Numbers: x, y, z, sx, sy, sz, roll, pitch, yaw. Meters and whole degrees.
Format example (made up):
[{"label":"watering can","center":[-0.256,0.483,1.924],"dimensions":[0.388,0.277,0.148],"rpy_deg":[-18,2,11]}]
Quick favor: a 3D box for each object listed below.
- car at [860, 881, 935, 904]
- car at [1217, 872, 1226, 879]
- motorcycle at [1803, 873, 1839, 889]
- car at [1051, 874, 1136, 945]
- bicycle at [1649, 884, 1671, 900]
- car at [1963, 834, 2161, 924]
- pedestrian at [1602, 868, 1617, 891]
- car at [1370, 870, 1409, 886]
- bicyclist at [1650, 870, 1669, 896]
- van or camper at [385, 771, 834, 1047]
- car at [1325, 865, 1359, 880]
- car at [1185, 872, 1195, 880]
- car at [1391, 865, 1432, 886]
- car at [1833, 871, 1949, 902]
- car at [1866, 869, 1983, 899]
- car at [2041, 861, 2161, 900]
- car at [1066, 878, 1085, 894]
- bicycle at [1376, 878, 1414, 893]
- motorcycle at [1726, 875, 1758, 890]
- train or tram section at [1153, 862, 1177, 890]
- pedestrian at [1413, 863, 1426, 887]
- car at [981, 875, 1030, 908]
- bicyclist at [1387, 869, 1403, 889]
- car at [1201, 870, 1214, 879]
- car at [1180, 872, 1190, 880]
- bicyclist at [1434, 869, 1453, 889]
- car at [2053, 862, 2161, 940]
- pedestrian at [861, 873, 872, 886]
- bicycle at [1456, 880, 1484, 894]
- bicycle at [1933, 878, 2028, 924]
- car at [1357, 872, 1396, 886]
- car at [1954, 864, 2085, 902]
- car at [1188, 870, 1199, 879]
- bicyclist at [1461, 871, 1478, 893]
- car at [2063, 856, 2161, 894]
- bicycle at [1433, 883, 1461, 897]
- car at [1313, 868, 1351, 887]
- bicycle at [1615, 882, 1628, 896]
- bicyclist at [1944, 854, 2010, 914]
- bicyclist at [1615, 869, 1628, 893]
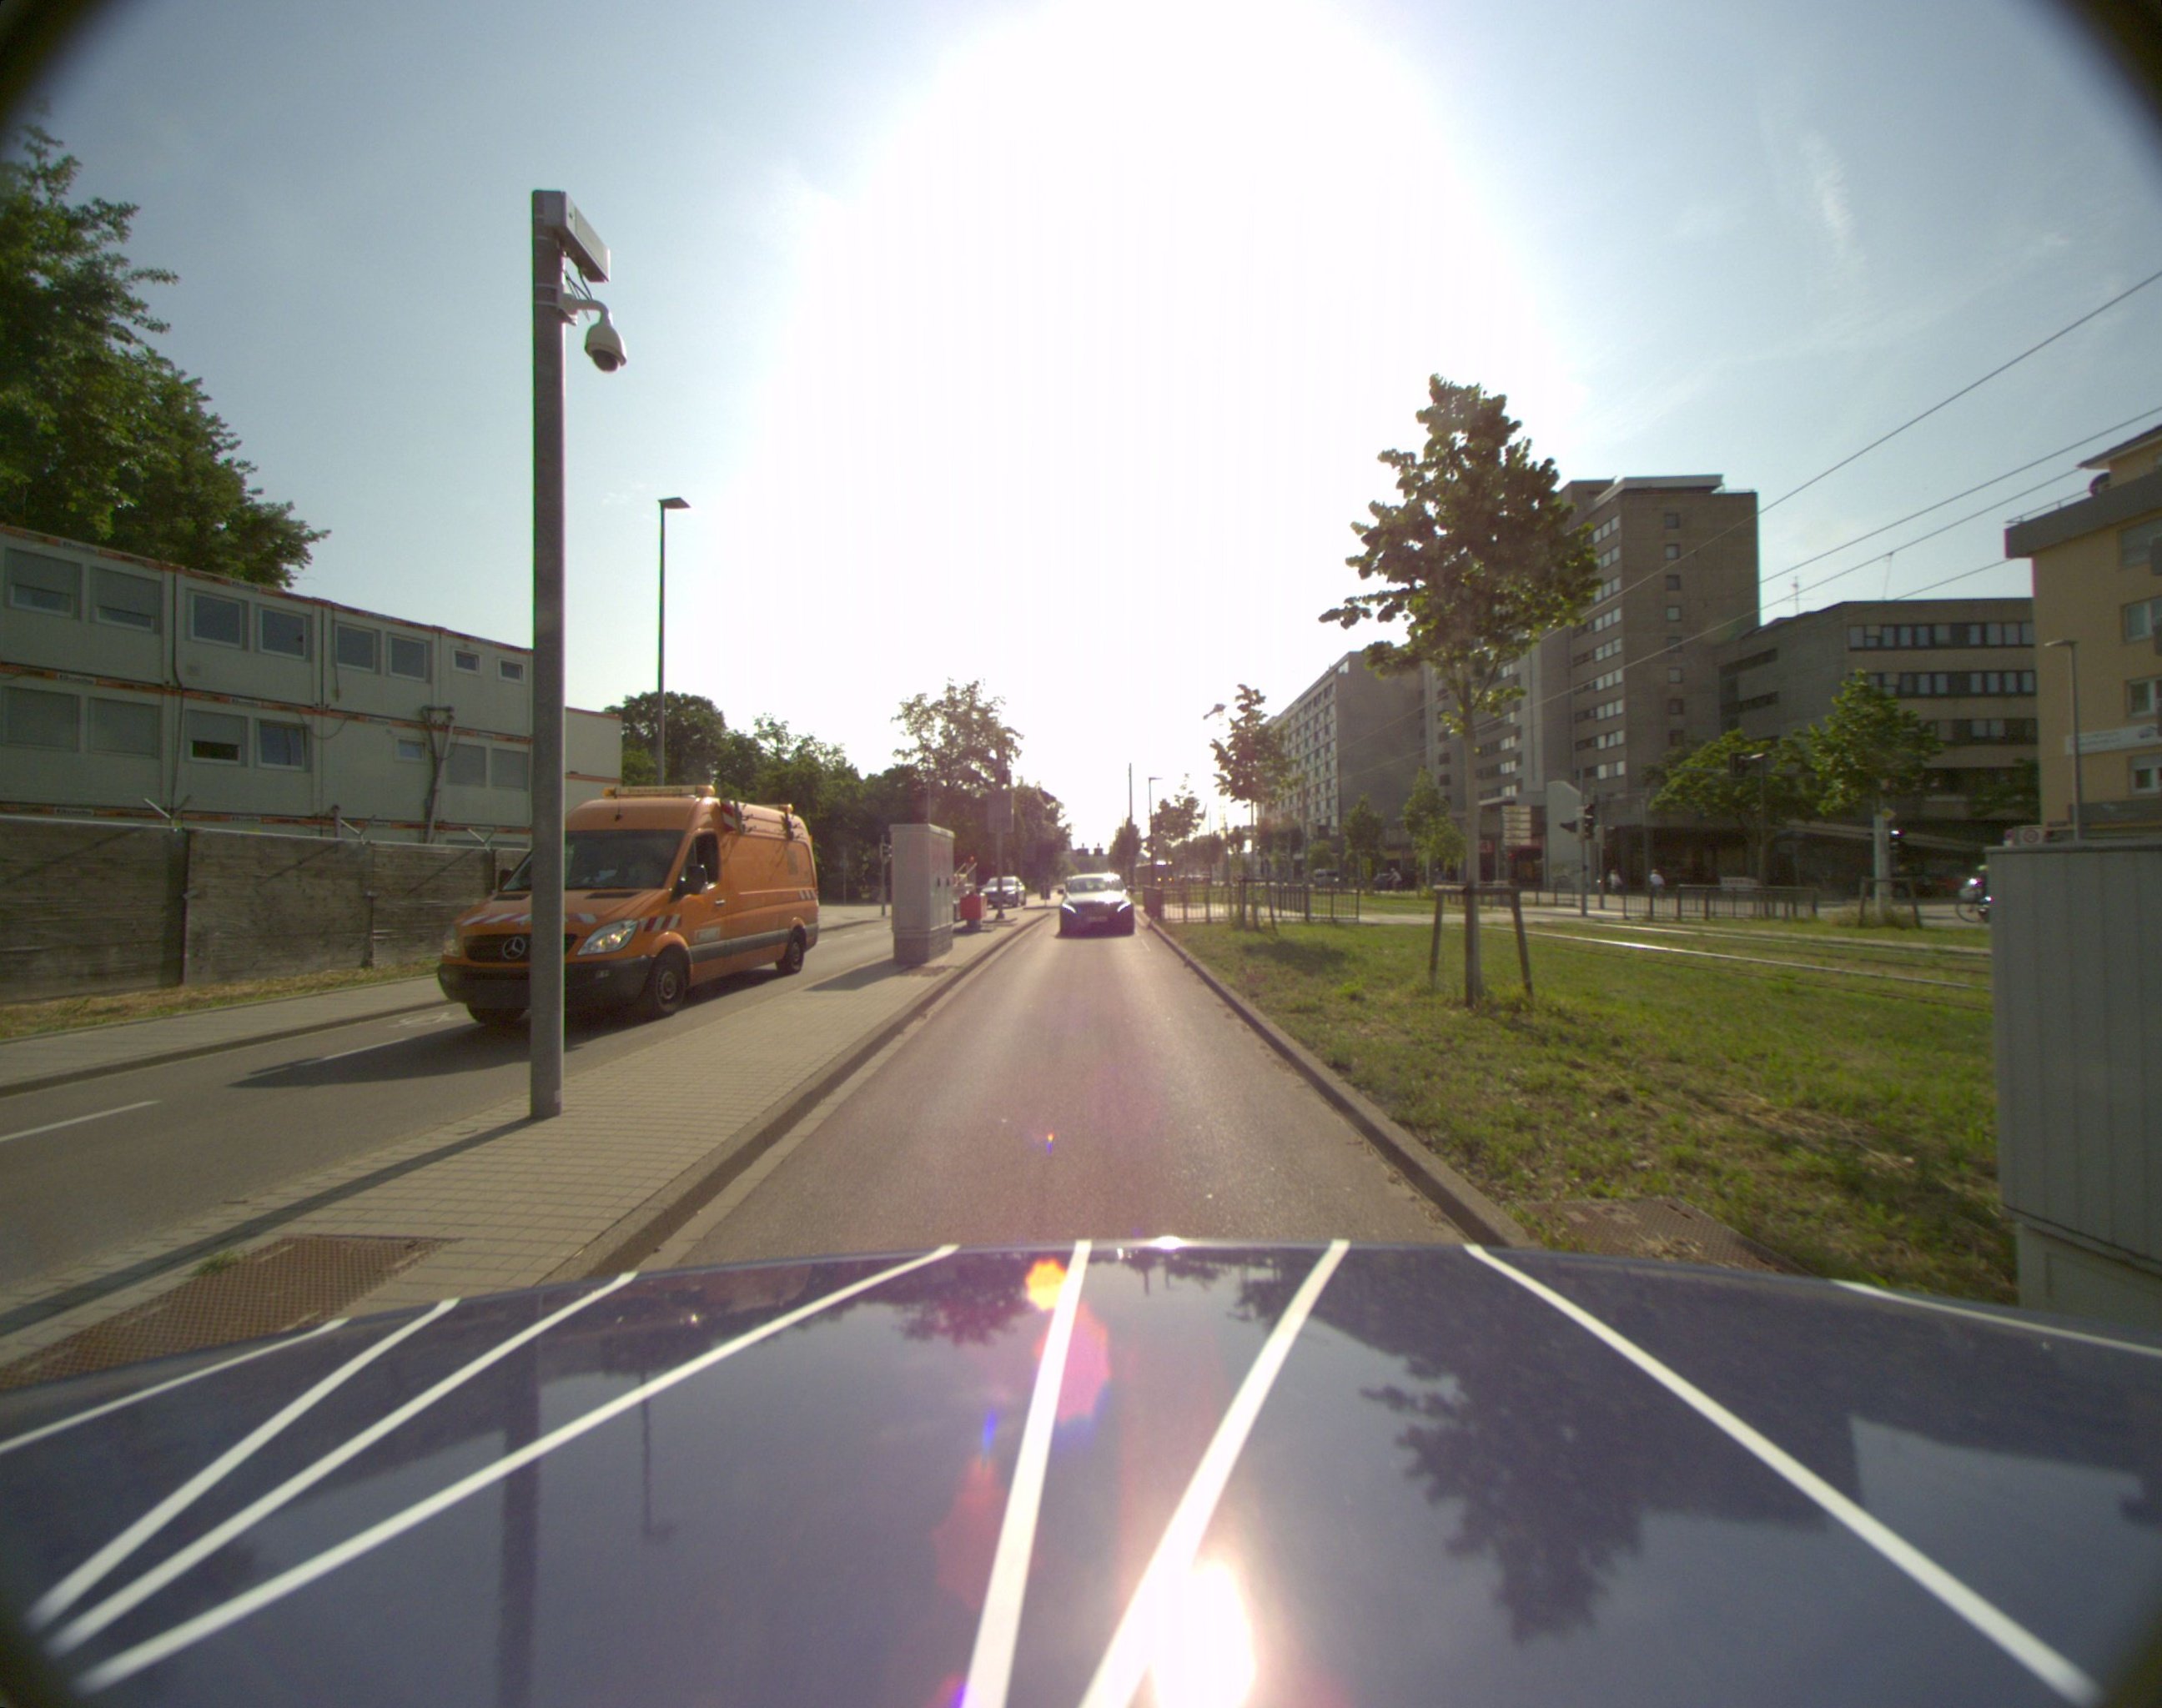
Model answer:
[{"label":"car","center":[-11.763,2.468,48.738],"dimensions":[4.273,1.397,2.003],"rpy_deg":[-1,-1,19]},{"label":"car","center":[35.901,5.562,194.032],"dimensions":[1.847,1.658,4.001],"rpy_deg":[-3,-1,3]},{"label":"motorcycle","center":[48.678,1.760,50.003],"dimensions":[0.494,1.011,1.947],"rpy_deg":[-1,-1,2]},{"label":"car","center":[0.351,1.264,18.769],"dimensions":[1.759,1.436,4.619],"rpy_deg":[-3,-1,2]},{"label":"bicycle","center":[32.699,2.125,42.918],"dimensions":[0.719,0.793,1.607],"rpy_deg":[-3,-1,29]},{"label":"car","center":[24.959,0.558,17.956],"dimensions":[1.999,2.001,5.303],"rpy_deg":[-1,-1,-1]},{"label":"pedestrian","center":[40.078,1.938,57.637],"dimensions":[0.699,1.766,0.625],"rpy_deg":[-1,-1,-11]},{"label":"car","center":[31.311,2.416,77.055],"dimensions":[4.120,1.596,1.875],"rpy_deg":[0,-1,-38]},{"label":"bicyclist","center":[32.702,1.629,42.943],"dimensions":[0.686,1.432,0.807],"rpy_deg":[-3,-1,30]},{"label":"van or camper","center":[-5.343,0.599,10.034],"dimensions":[1.991,2.457,6.063],"rpy_deg":[-3,-2,1]},{"label":"car","center":[31.104,2.221,90.516],"dimensions":[4.008,1.572,2.097],"rpy_deg":[-1,-3,-45]},{"label":"car","center":[21.736,4.387,151.684],"dimensions":[1.811,1.465,4.002],"rpy_deg":[-1,-1,4]},{"label":"car","center":[32.039,2.075,73.583],"dimensions":[4.120,1.956,1.875],"rpy_deg":[0,-1,-38]},{"label":"car","center":[47.030,1.845,44.274],"dimensions":[1.914,1.618,4.381],"rpy_deg":[-3,-1,-2]},{"label":"car","center":[49.446,1.723,44.689],"dimensions":[1.914,1.618,4.381],"rpy_deg":[-3,-1,-2]},{"label":"car","center":[45.930,1.170,33.978],"dimensions":[3.797,1.678,1.774],"rpy_deg":[-1,-1,-2]},{"label":"car","center":[-0.537,3.407,80.927],"dimensions":[1.904,1.584,4.002],"rpy_deg":[-1,-2,2]},{"label":"bicycle","center":[21.125,2.132,51.129],"dimensions":[2.341,0.993,0.709],"rpy_deg":[-2,-1,25]},{"label":"motorcycle","center":[44.404,1.897,51.074],"dimensions":[0.494,1.011,1.947],"rpy_deg":[-1,-1,2]},{"label":"train or tram section","center":[10.656,2.760,96.728],"dimensions":[2.500,3.408,6.672],"rpy_deg":[-1,-1,3]},{"label":"pedestrian","center":[23.853,1.507,53.584],"dimensions":[0.660,1.680,0.646],"rpy_deg":[-1,-1,4]},{"label":"car","center":[-3.900,1.912,39.873],"dimensions":[1.897,1.561,4.252],"rpy_deg":[-2,-1,2]},{"label":"bicyclist","center":[21.169,1.687,51.191],"dimensions":[0.911,1.377,0.705],"rpy_deg":[-1,-3,25]},{"label":"car","center":[20.688,3.389,124.349],"dimensions":[1.811,1.471,4.002],"rpy_deg":[-1,-1,4]},{"label":"car","center":[21.813,4.644,159.508],"dimensions":[1.787,1.515,4.001],"rpy_deg":[-1,-1,2]},{"label":"bicyclist","center":[26.151,1.813,54.778],"dimensions":[1.024,1.431,0.685],"rpy_deg":[-1,-1,-1]},{"label":"car","center":[22.039,0.889,14.228],"dimensions":[1.999,1.504,4.399],"rpy_deg":[-1,-1,-1]},{"label":"pedestrian","center":[-29.980,3.615,106.263],"dimensions":[0.983,1.820,1.072],"rpy_deg":[-2,-1,32]},{"label":"bicycle","center":[26.117,2.209,50.992],"dimensions":[1.609,0.929,0.559],"rpy_deg":[1,-2,22]},{"label":"bicycle","center":[27.304,1.401,23.107],"dimensions":[0.696,1.338,1.757],"rpy_deg":[-1,-1,-4]},{"label":"car","center":[31.381,2.688,80.633],"dimensions":[4.119,1.236,1.875],"rpy_deg":[-2,-2,-38]},{"label":"car","center":[41.328,1.293,33.509],"dimensions":[3.633,1.573,1.710],"rpy_deg":[-1,-4,-2]},{"label":"car","center":[21.325,3.857,143.862],"dimensions":[1.811,1.564,4.002],"rpy_deg":[-1,-1,4]},{"label":"bicyclist","center":[26.093,1.882,51.021],"dimensions":[0.971,1.387,0.547],"rpy_deg":[1,-2,22]},{"label":"car","center":[56.838,1.081,40.810],"dimensions":[1.998,1.957,4.834],"rpy_deg":[-1,-1,1]},{"label":"bicycle","center":[26.379,2.591,54.766],"dimensions":[1.666,0.984,0.685],"rpy_deg":[-1,-1,-2]},{"label":"car","center":[32.102,2.949,97.042],"dimensions":[5.419,2.294,1.880],"rpy_deg":[0,-1,-39]},{"label":"bicycle","center":[33.409,2.156,46.958],"dimensions":[0.627,0.788,2.007],"rpy_deg":[-2,-2,36]},{"label":"bicyclist","center":[27.289,0.901,23.170],"dimensions":[0.671,1.794,1.083],"rpy_deg":[-1,-1,-4]},{"label":"bicyclist","center":[33.388,1.648,46.956],"dimensions":[0.619,1.491,0.989],"rpy_deg":[-2,-1,36]}]
